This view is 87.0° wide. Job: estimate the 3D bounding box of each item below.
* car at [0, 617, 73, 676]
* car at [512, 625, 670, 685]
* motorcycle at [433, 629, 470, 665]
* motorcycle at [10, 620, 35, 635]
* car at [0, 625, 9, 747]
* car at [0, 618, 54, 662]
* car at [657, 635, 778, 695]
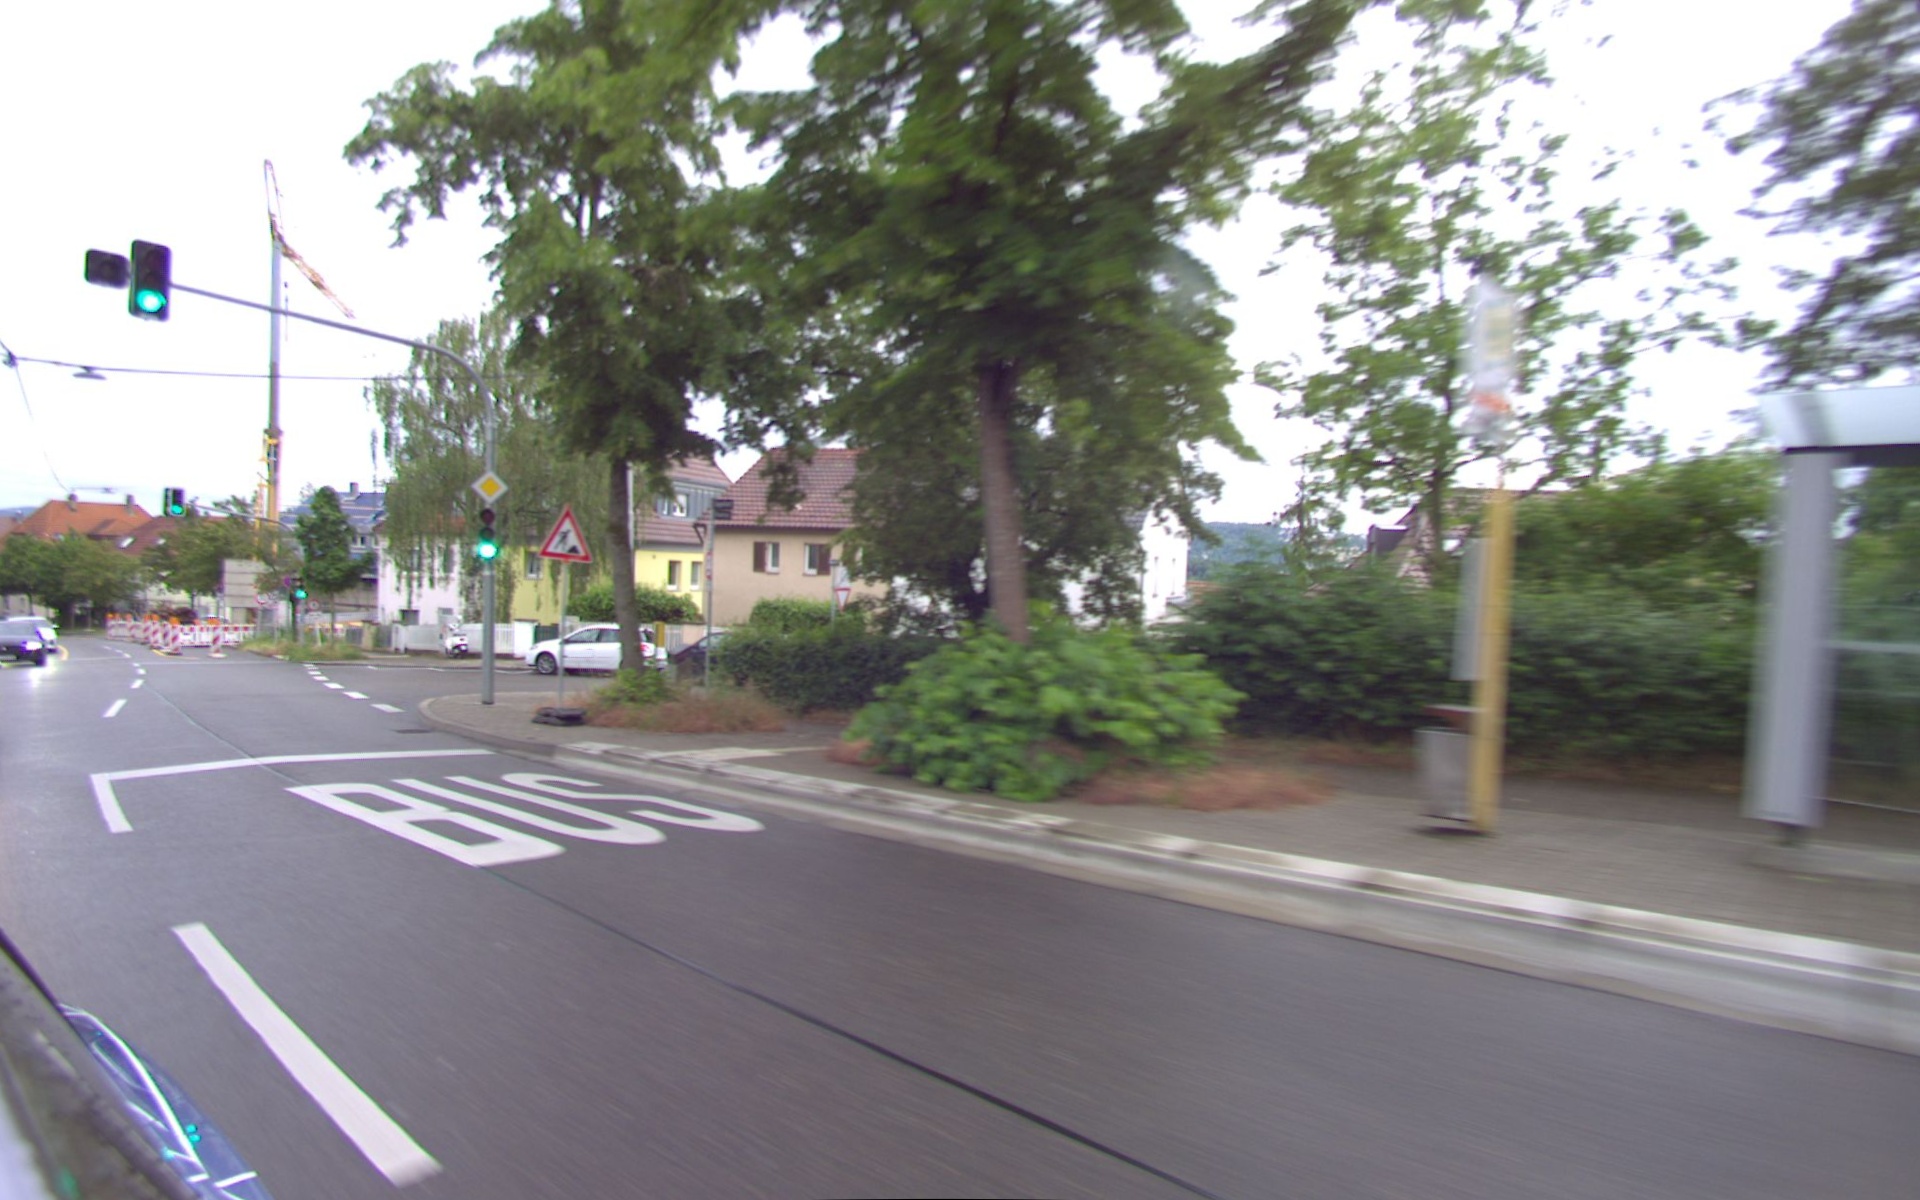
[{"bbox_3d":[-27.974,1.359,30.266,1.970,1.674,4.003,2,-2,-44],"label":"car"},{"bbox_3d":[-10.758,1.587,29.656,3.963,1.520,1.685,2,-2,7],"label":"car"},{"bbox_3d":[-16.834,1.537,33.502,0.583,1.139,1.845,2,-2,-43],"label":"motorcycle"},{"bbox_3d":[-83.736,2.452,90.349,1.952,1.257,0.730,-1,2,18],"label":"motorcycle"},{"bbox_3d":[-11.486,1.023,10.751,1.720,1.453,4.366,-2,0,-40],"label":"car"},{"bbox_3d":[-41.671,1.743,44.877,1.988,1.750,4.606,-5,3,-41],"label":"car"},{"bbox_3d":[-6.873,1.818,28.762,2.899,1.441,1.554,3,-2,21],"label":"car"}]
